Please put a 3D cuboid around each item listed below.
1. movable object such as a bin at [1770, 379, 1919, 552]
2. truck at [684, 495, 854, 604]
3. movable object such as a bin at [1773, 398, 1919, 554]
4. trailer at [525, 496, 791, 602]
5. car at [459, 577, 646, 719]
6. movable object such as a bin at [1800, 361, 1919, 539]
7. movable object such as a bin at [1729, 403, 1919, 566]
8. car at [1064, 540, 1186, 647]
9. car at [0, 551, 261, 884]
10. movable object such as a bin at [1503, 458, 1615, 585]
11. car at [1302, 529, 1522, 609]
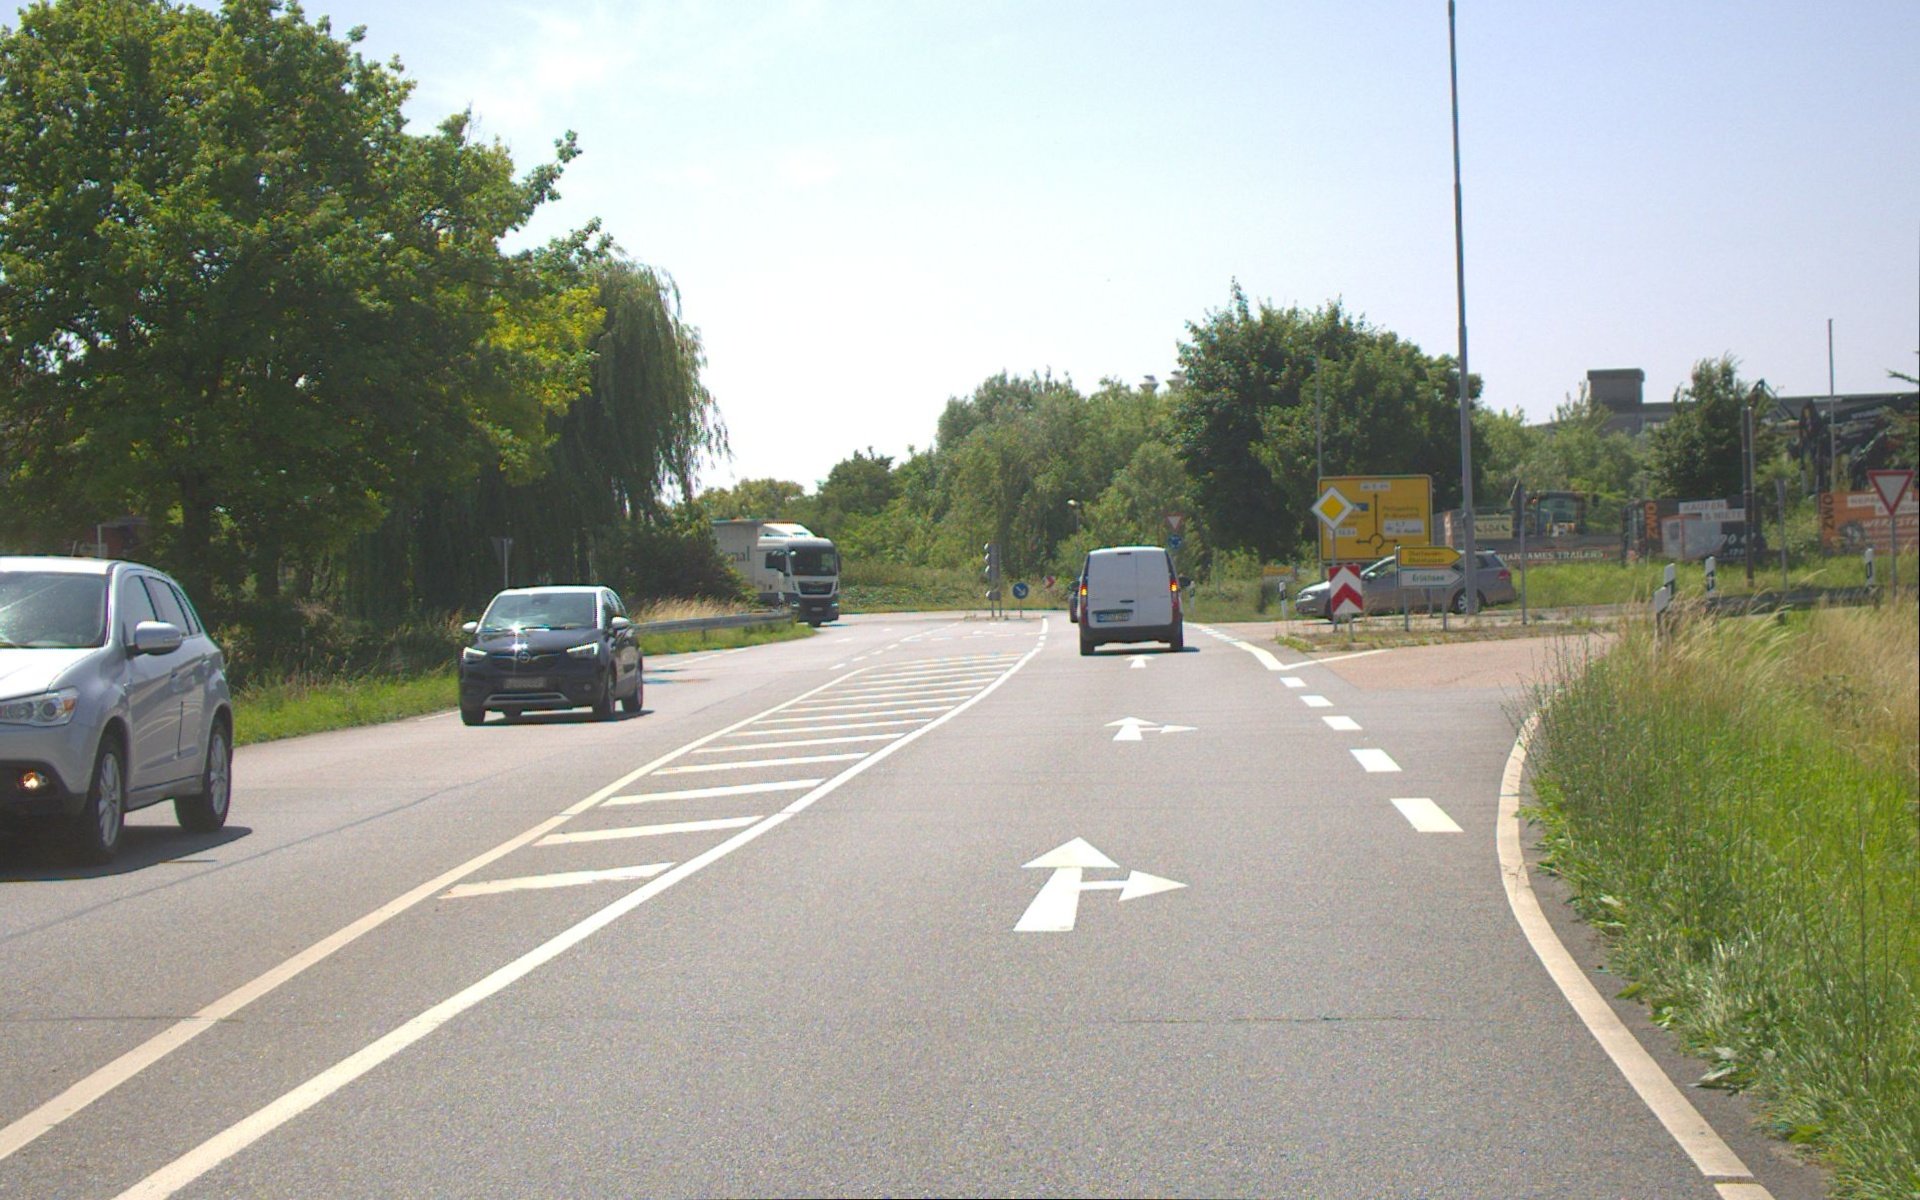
[{"bbox_3d":[28.733,-4.118,106.470,6.592,5.130,3.805,0,-1,5],"label":"movable object such as a bin"},{"bbox_3d":[-7.330,-1.932,131.390,2.791,4.043,6.750,-1,1,-43],"label":"truck"},{"bbox_3d":[25.964,-3.507,97.912,5.086,4.260,2.833,0,-1,5],"label":"movable object such as a bin"},{"bbox_3d":[-12.137,-2.029,136.594,2.791,4.043,13.495,-1,1,-43],"label":"trailer"},{"bbox_3d":[-4.755,0.530,40.554,1.732,1.585,3.958,0,0,0],"label":"car"},{"bbox_3d":[28.348,-4.443,102.588,5.919,5.088,3.108,0,-1,5],"label":"movable object such as a bin"},{"bbox_3d":[28.961,-3.835,115.421,5.717,5.251,3.220,0,-1,5],"label":"movable object such as a bin"},{"bbox_3d":[2.785,-0.113,58.773,1.903,1.726,3.822,-1,0,1],"label":"car"},{"bbox_3d":[-5.094,0.532,18.645,1.741,1.584,4.530,1,0,-1],"label":"car"},{"bbox_3d":[16.388,-2.115,94.294,2.323,3.239,5.101,0,-1,2],"label":"movable object such as a bin"},{"bbox_3d":[9.751,-0.674,74.415,4.512,1.503,1.914,-3,1,3],"label":"car"}]
